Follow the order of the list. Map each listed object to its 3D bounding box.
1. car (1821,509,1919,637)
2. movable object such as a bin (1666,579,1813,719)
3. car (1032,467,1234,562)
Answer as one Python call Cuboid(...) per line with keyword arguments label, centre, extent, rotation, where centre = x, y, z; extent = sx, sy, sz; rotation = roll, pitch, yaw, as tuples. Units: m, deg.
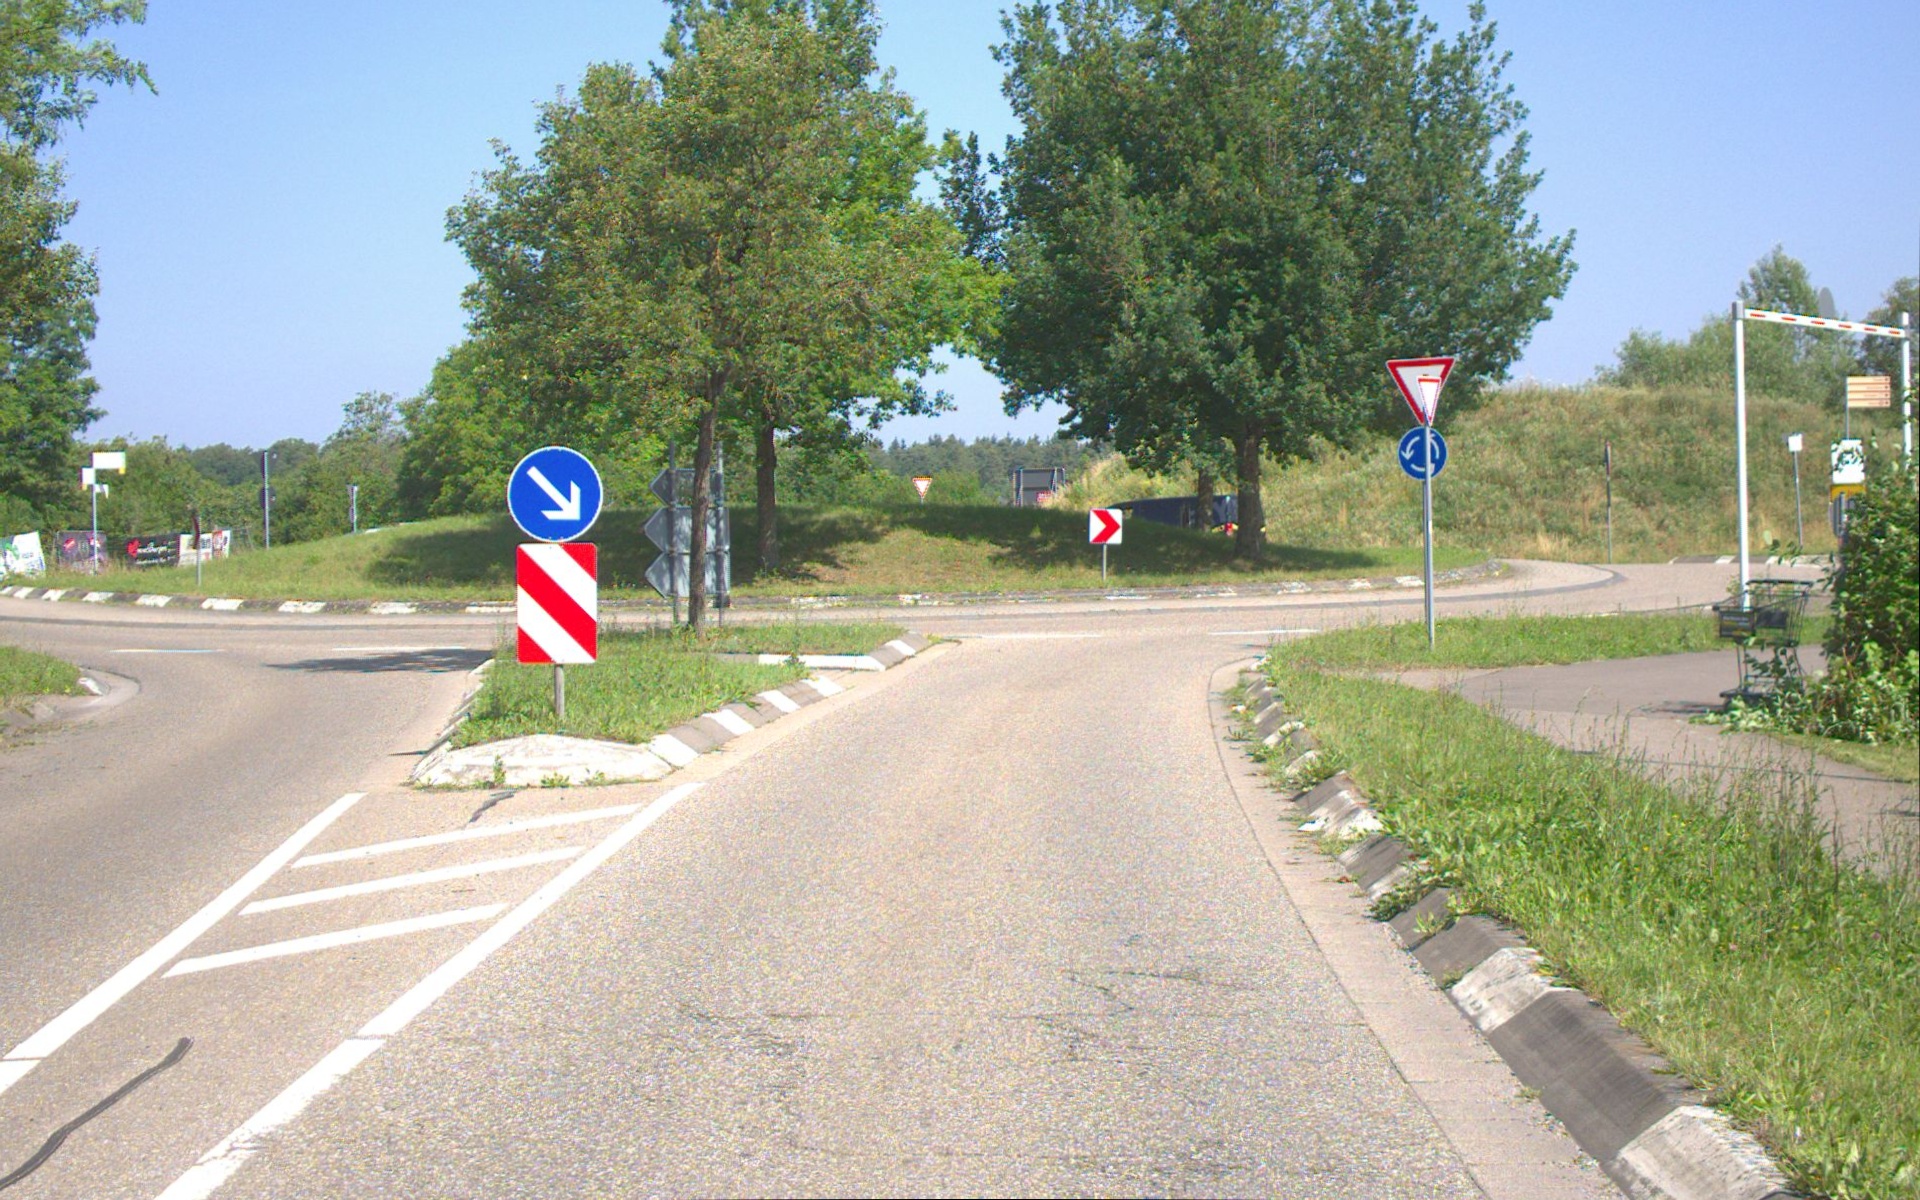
Cuboid(label="car", centre=(13.082, -0.356, 42.781), extent=(4.418, 1.566, 1.714), rotation=(0, 2, 21))
Cuboid(label="movable object such as a bin", centre=(6.588, 0.397, 29.021), extent=(0.869, 1.116, 1.453), rotation=(0, 2, 28))
Cuboid(label="car", centre=(3.831, -1.894, 76.425), extent=(3.995, 2.007, 1.996), rotation=(0, 2, 34))
